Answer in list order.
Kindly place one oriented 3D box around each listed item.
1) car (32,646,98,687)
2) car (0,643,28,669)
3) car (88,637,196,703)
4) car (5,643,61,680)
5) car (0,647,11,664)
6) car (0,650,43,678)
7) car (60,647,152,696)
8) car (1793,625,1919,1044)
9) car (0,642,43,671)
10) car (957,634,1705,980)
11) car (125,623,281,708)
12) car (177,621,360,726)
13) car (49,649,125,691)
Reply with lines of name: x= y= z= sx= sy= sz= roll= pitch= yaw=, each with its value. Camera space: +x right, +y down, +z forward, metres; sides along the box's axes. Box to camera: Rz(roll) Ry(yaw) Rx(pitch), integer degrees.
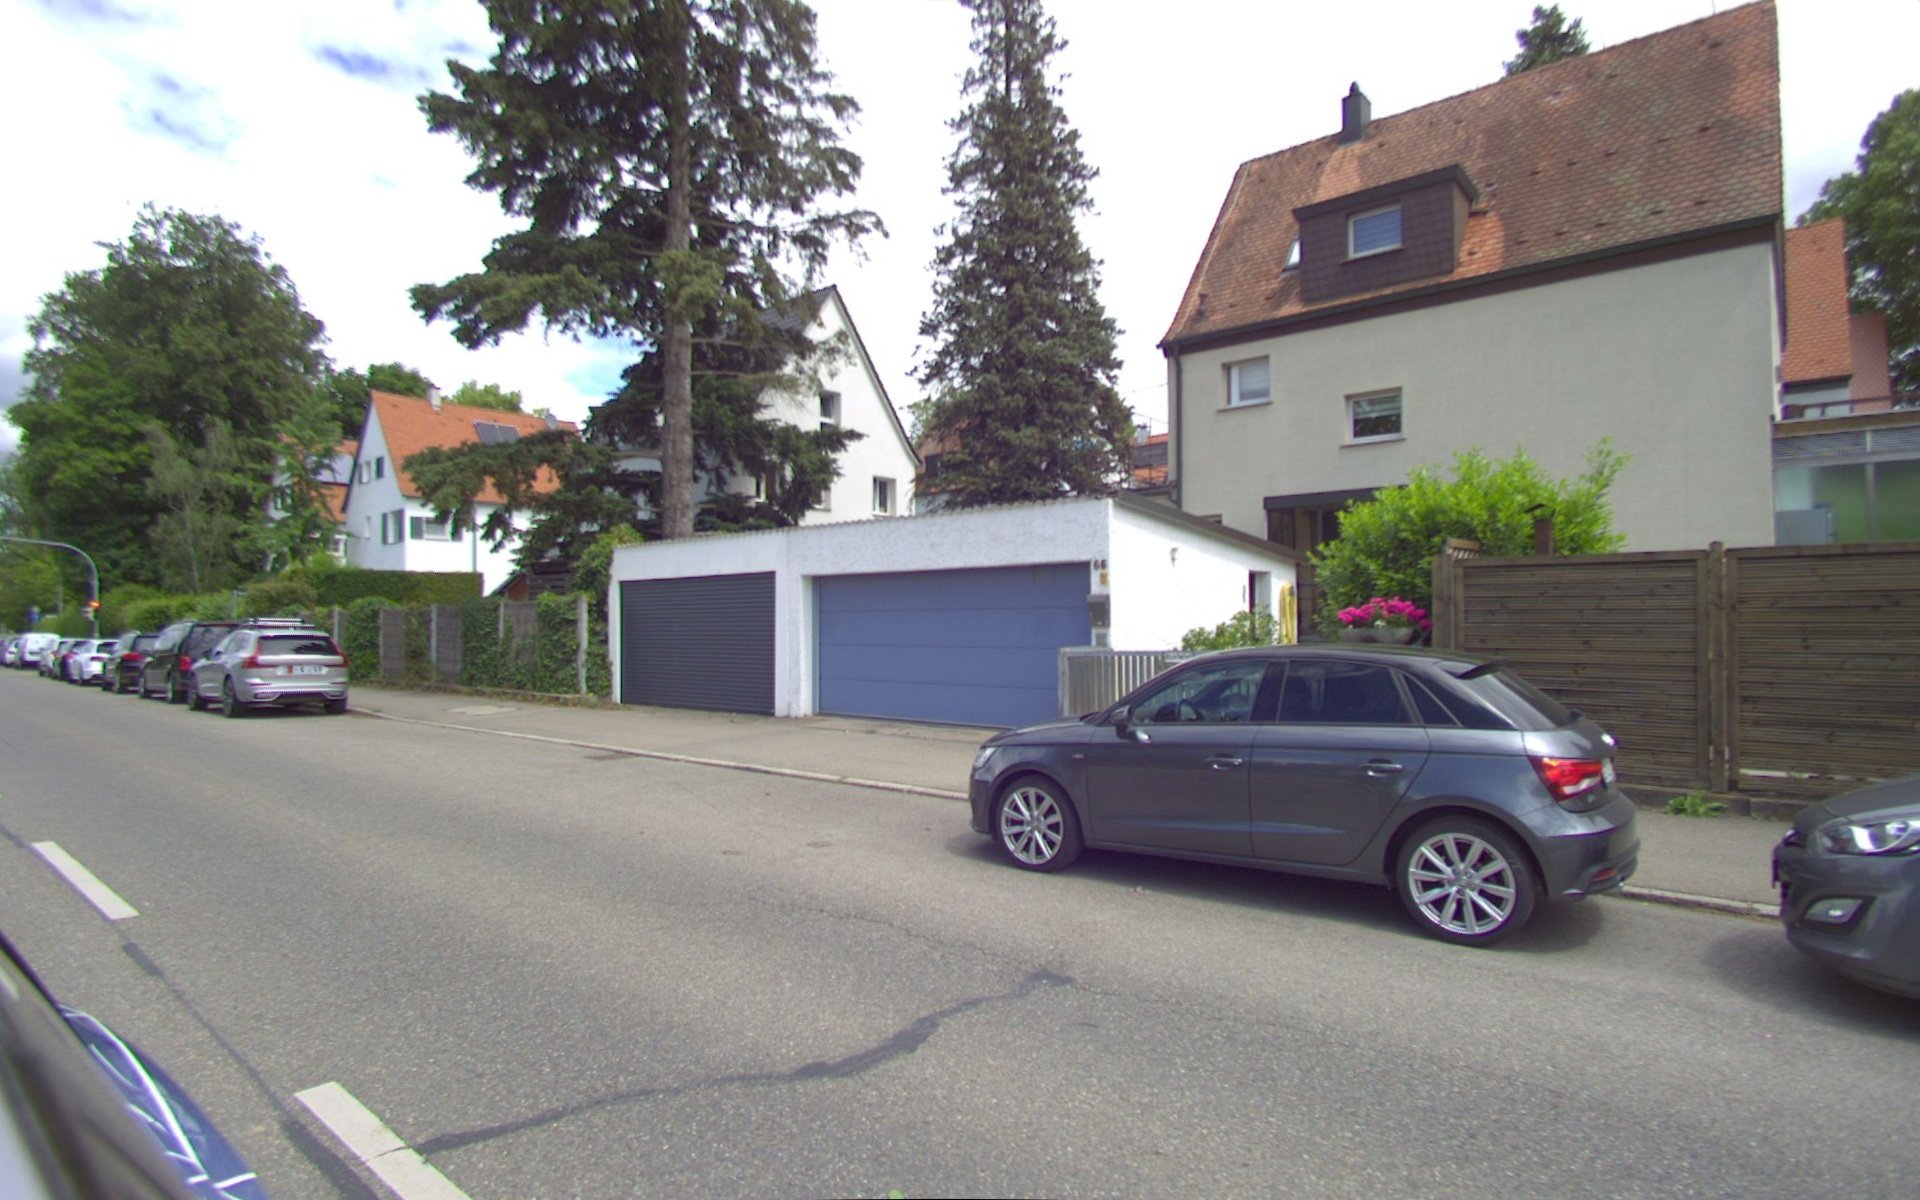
car: x=-35.785 y=2.643 z=40.450 sx=3.744 sy=1.555 sz=1.683 roll=-3 pitch=-4 yaw=45
car: x=-62.290 y=3.631 z=66.044 sx=4.415 sy=1.623 sz=1.771 roll=-3 pitch=-3 yaw=42
car: x=-22.849 y=1.914 z=28.214 sx=4.583 sy=1.691 sz=1.609 roll=-3 pitch=-5 yaw=42
car: x=-46.702 y=3.086 z=50.968 sx=4.607 sy=1.772 sz=1.658 roll=-3 pitch=-4 yaw=43
car: x=-81.224 y=4.666 z=85.064 sx=1.944 sy=1.413 sz=4.068 roll=1 pitch=-3 yaw=-45
car: x=-50.567 y=3.422 z=54.475 sx=1.684 sy=1.464 sz=4.361 roll=5 pitch=-5 yaw=-42
car: x=-27.708 y=2.276 z=32.778 sx=5.070 sy=1.470 sz=1.785 roll=-3 pitch=-4 yaw=45
car: x=5.412 y=0.797 z=2.953 sx=4.489 sy=1.470 sz=1.846 roll=-2 pitch=-2 yaw=43
car: x=-54.648 y=3.262 z=58.584 sx=4.643 sy=1.606 sz=1.876 roll=-3 pitch=-3 yaw=43
car: x=2.019 y=0.958 z=6.082 sx=3.899 sy=1.438 sz=1.635 roll=-3 pitch=-4 yaw=37
car: x=-18.217 y=1.509 z=24.264 sx=4.881 sy=1.768 sz=2.045 roll=-2 pitch=-1 yaw=41
car: x=-13.776 y=1.387 z=20.039 sx=4.706 sy=1.833 sz=1.963 roll=-3 pitch=-3 yaw=42
car: x=-31.634 y=2.494 z=36.627 sx=4.325 sy=1.421 sz=1.723 roll=-3 pitch=-4 yaw=45
